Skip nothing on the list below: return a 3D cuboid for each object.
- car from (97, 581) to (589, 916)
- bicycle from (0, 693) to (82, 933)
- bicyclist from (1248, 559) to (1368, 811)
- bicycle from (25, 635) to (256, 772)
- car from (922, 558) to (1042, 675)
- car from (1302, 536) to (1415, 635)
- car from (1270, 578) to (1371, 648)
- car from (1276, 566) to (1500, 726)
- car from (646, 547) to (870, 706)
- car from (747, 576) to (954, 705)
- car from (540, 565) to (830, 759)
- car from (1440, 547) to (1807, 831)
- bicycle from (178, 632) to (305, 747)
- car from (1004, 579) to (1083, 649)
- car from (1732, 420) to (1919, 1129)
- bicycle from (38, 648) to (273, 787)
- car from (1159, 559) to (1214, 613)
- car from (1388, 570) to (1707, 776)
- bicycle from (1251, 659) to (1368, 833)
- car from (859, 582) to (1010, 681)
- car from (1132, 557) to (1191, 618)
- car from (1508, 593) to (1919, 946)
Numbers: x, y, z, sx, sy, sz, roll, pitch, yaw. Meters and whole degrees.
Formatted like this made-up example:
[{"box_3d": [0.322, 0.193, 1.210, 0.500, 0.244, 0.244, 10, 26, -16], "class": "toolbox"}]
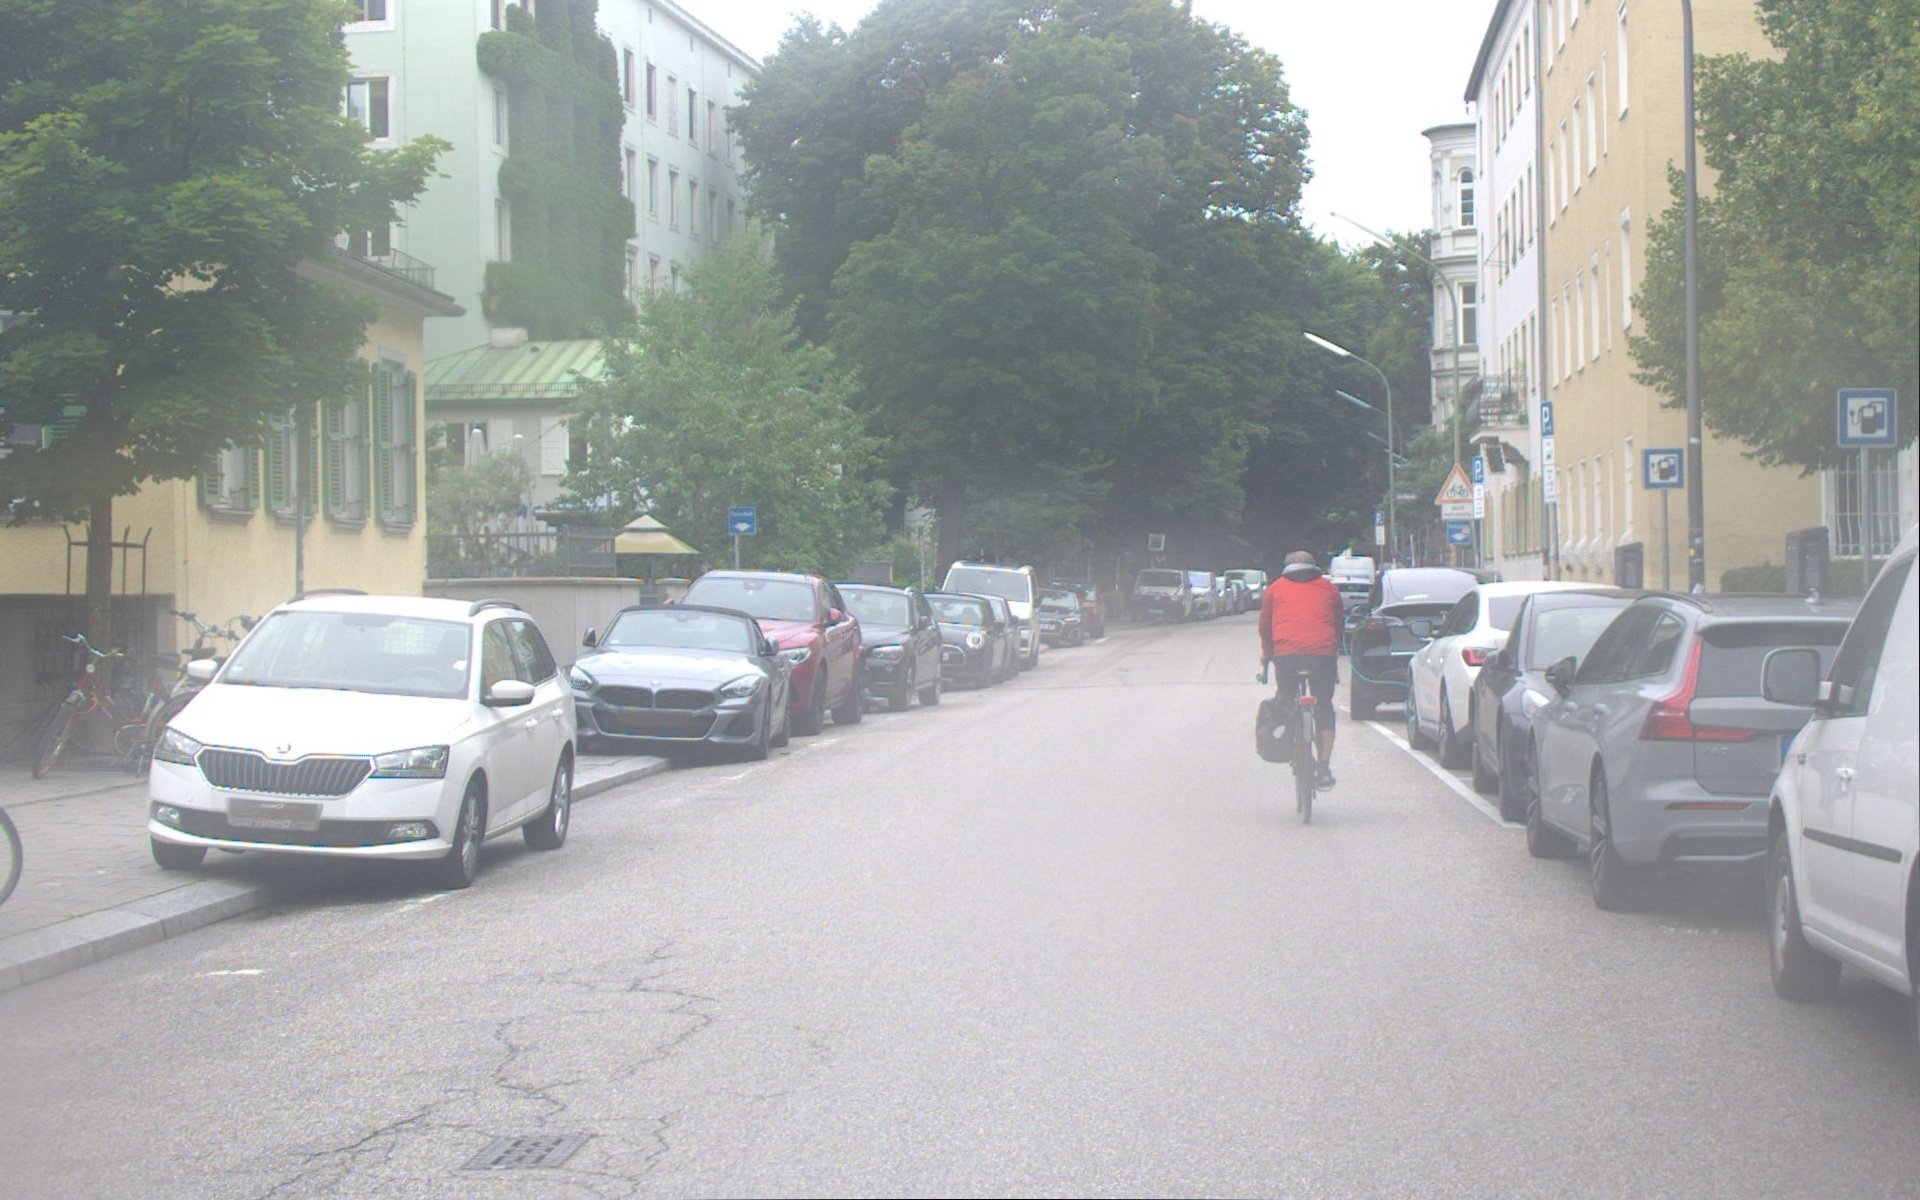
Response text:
[{"box_3d": [-3.271, 0.724, 18.955, 1.734, 1.576, 3.787, 3, 0, 4], "class": "car"}, {"box_3d": [-4.754, 0.920, 14.480, 0.623, 1.001, 2.136, 3, 1, 34], "class": "bicycle"}, {"box_3d": [2.114, 0.513, 20.988, 0.672, 1.492, 1.094, -1, -1, 3], "class": "bicyclist"}, {"box_3d": [-6.400, 0.801, 26.879, 1.614, 1.001, 0.623, -1, -1, -34], "class": "bicycle"}, {"box_3d": [0.435, 0.273, 62.979, 1.994, 2.072, 4.000, -1, 1, 3], "class": "car"}, {"box_3d": [8.499, -0.317, 73.718, 1.993, 2.053, 4.623, 0, 0, 1], "class": "car"}, {"box_3d": [8.273, 0.274, 79.094, 1.993, 1.547, 4.000, 0, 0, 1], "class": "car"}, {"box_3d": [4.524, 0.448, 36.880, 1.993, 1.612, 4.000, 0, 0, 1], "class": "car"}, {"box_3d": [-2.082, 0.279, 36.608, 1.994, 1.597, 4.000, 0, 0, 2], "class": "car"}, {"box_3d": [-1.336, 0.472, 43.560, 1.994, 1.481, 3.999, 2, 1, 7], "class": "car"}, {"box_3d": [-2.427, 0.511, 31.527, 1.994, 1.643, 4.655, 0, 0, 4], "class": "car"}, {"box_3d": [4.204, 0.508, 22.337, 1.863, 1.670, 3.902, -1, 1, 4], "class": "car"}, {"box_3d": [-6.418, 0.790, 30.762, 0.622, 1.001, 1.618, 0, -1, 7], "class": "bicycle"}, {"box_3d": [2.102, 0.325, 85.710, 1.810, 1.677, 4.000, -1, 1, 3], "class": "car"}, {"box_3d": [3.593, 0.456, 10.650, 1.750, 1.936, 4.227, -1, 1, 5], "class": "car"}, {"box_3d": [-5.989, 0.865, 25.592, 1.613, 1.001, 0.623, 0, -1, -23], "class": "bicycle"}, {"box_3d": [8.895, -0.526, 134.781, 1.994, 2.007, 3.999, 2, 0, 5], "class": "car"}, {"box_3d": [4.674, 0.533, 27.910, 1.993, 1.547, 4.000, 0, 0, 1], "class": "car"}, {"box_3d": [2.117, 0.864, 21.000, 0.621, 1.001, 2.140, -1, -1, 4], "class": "bicycle"}, {"box_3d": [-0.361, 0.469, 54.415, 1.994, 1.481, 3.999, 0, 1, 5], "class": "car"}, {"box_3d": [7.231, -0.460, 123.278, 1.994, 2.091, 4.000, 2, 1, 3], "class": "car"}, {"box_3d": [3.780, 0.701, 16.418, 1.863, 1.435, 4.255, 0, 0, 3], "class": "car"}]
